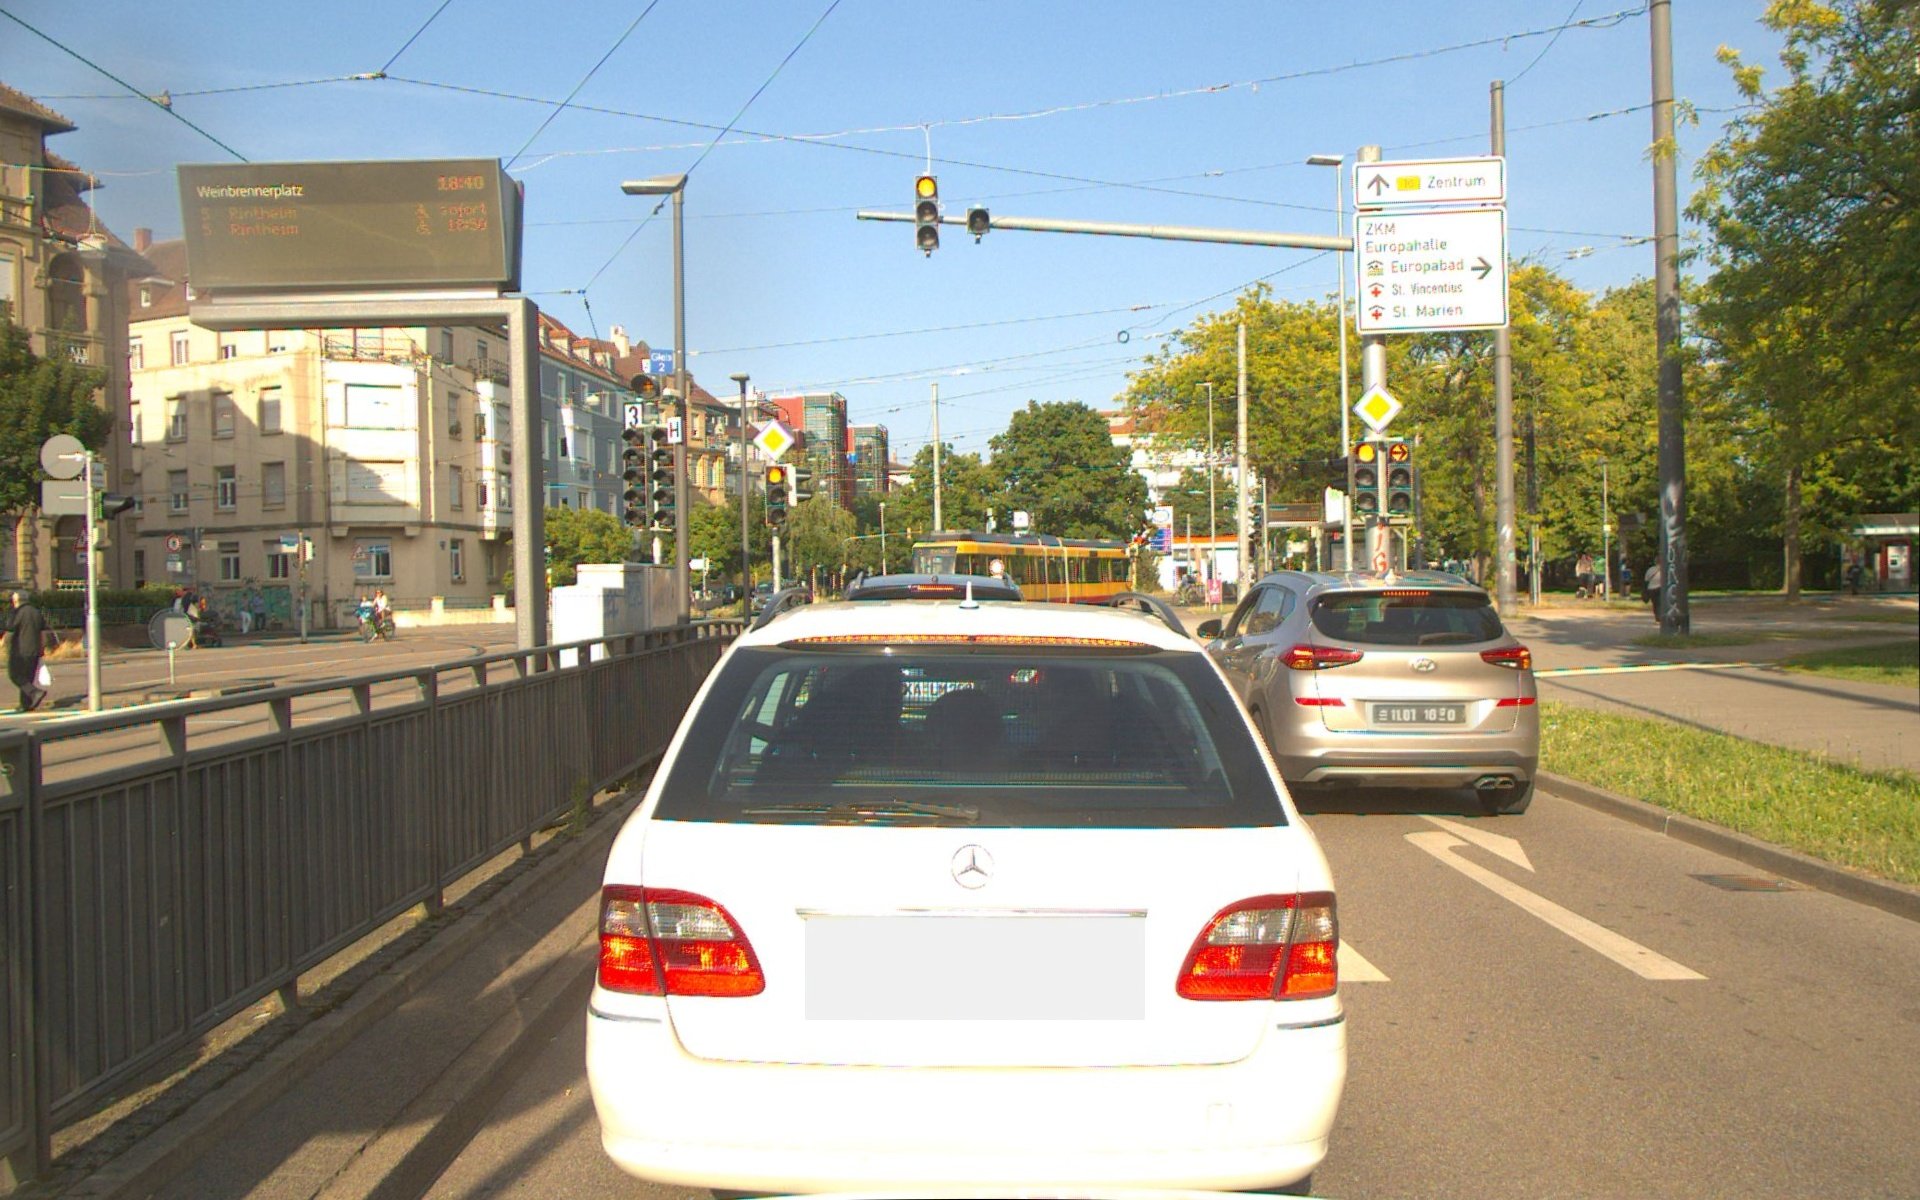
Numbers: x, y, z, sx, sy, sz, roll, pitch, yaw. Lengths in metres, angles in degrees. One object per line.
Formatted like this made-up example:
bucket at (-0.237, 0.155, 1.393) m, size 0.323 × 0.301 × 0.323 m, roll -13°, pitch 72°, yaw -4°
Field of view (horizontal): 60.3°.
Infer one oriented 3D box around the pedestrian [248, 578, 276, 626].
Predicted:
pedestrian at (-30.454, 0.096, 72.165) m, size 0.758 × 2.049 × 0.787 m, roll -1°, pitch 0°, yaw 14°

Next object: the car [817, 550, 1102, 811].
car at (-0.021, 0.514, 12.665) m, size 1.846 × 1.680 × 3.647 m, roll 1°, pitch 0°, yaw -1°

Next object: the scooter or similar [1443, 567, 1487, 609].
scooter or similar at (13.960, -0.326, 45.731) m, size 0.413 × 1.136 × 1.322 m, roll -1°, pitch 0°, yaw -20°

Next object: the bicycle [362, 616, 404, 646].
bicycle at (-18.047, 0.961, 51.772) m, size 0.515 × 0.849 × 1.688 m, roll -1°, pitch 1°, yaw 8°

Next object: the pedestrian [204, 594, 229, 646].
pedestrian at (-22.318, 0.593, 49.675) m, size 0.523 × 1.527 × 0.389 m, roll -1°, pitch 0°, yaw 14°

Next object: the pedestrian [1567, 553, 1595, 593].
pedestrian at (24.062, -1.052, 64.111) m, size 0.809 × 1.513 × 0.690 m, roll -2°, pitch 0°, yaw -42°

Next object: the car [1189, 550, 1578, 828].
car at (2.898, 0.538, 12.139) m, size 1.846 × 1.680 × 3.647 m, roll -2°, pitch 0°, yaw -1°

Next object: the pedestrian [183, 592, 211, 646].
pedestrian at (-22.118, 0.550, 47.950) m, size 0.428 × 1.527 × 0.549 m, roll -1°, pitch 0°, yaw 14°

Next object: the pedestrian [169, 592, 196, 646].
pedestrian at (-22.597, 0.544, 48.064) m, size 0.428 × 1.527 × 0.549 m, roll -1°, pitch 0°, yaw 14°

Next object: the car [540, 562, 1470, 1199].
car at (0.062, 0.663, 4.954) m, size 1.759 × 1.496 × 3.647 m, roll 0°, pitch 0°, yaw -1°

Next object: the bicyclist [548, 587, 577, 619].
bicyclist at (-16.694, 0.124, 69.460) m, size 0.747 × 1.284 × 1.175 m, roll -1°, pitch 0°, yaw 9°

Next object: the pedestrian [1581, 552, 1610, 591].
pedestrian at (24.870, -1.120, 64.732) m, size 0.799 × 1.513 × 0.699 m, roll -2°, pitch 0°, yaw -12°

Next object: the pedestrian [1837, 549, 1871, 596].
pedestrian at (32.695, -1.006, 60.466) m, size 0.818 × 1.665 × 0.803 m, roll -1°, pitch 0°, yaw 5°

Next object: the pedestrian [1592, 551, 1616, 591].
pedestrian at (24.609, -1.098, 63.216) m, size 0.797 × 1.513 × 0.700 m, roll -1°, pitch 0°, yaw 24°

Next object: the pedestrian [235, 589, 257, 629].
pedestrian at (-30.792, 0.389, 71.323) m, size 0.606 × 1.689 × 0.586 m, roll -1°, pitch 0°, yaw 14°

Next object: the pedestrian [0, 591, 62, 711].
pedestrian at (-13.477, 0.717, 23.780) m, size 0.788 × 1.674 × 0.745 m, roll -2°, pitch 0°, yaw -45°

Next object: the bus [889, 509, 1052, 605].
bus at (0.714, -1.682, 70.905) m, size 3.044 × 3.669 × 12.377 m, roll 1°, pitch 0°, yaw 19°

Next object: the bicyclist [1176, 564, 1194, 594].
bicyclist at (11.390, -1.061, 83.690) m, size 0.842 × 1.507 × 0.790 m, roll -1°, pitch 0°, yaw 7°

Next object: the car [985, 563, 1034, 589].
car at (4.017, -1.928, 134.664) m, size 3.906 × 2.049 × 1.999 m, roll 1°, pitch 0°, yaw -2°

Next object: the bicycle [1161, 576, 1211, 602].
bicycle at (11.438, -0.546, 83.696) m, size 2.430 × 1.234 × 0.807 m, roll -1°, pitch 0°, yaw 7°

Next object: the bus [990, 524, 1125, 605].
bus at (5.077, -1.621, 82.582) m, size 3.045 × 3.669 × 12.591 m, roll 1°, pitch 0°, yaw 21°

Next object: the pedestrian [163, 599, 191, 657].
pedestrian at (-22.967, 0.811, 48.506) m, size 0.497 × 1.654 × 0.608 m, roll -1°, pitch 0°, yaw 0°

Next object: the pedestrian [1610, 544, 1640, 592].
pedestrian at (25.888, -1.250, 64.391) m, size 0.784 × 1.816 × 0.838 m, roll -1°, pitch 0°, yaw -5°

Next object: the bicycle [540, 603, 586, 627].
bicycle at (-16.674, 0.616, 69.541) m, size 0.767 × 0.930 × 3.000 m, roll -1°, pitch 1°, yaw 9°

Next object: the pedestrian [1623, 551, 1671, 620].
pedestrian at (16.753, -0.358, 40.326) m, size 0.748 × 1.665 × 0.797 m, roll -2°, pitch 0°, yaw -40°

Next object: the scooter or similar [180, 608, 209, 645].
scooter or similar at (-22.787, 0.787, 49.233) m, size 0.532 × 1.098 × 0.683 m, roll 1°, pitch 0°, yaw -1°

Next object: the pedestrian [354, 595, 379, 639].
pedestrian at (-21.305, 0.611, 59.387) m, size 0.616 × 1.568 × 0.711 m, roll -1°, pitch 0°, yaw -1°

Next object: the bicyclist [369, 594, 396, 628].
bicyclist at (-18.064, 0.343, 51.751) m, size 0.502 × 1.062 × 0.680 m, roll -1°, pitch 0°, yaw 7°
